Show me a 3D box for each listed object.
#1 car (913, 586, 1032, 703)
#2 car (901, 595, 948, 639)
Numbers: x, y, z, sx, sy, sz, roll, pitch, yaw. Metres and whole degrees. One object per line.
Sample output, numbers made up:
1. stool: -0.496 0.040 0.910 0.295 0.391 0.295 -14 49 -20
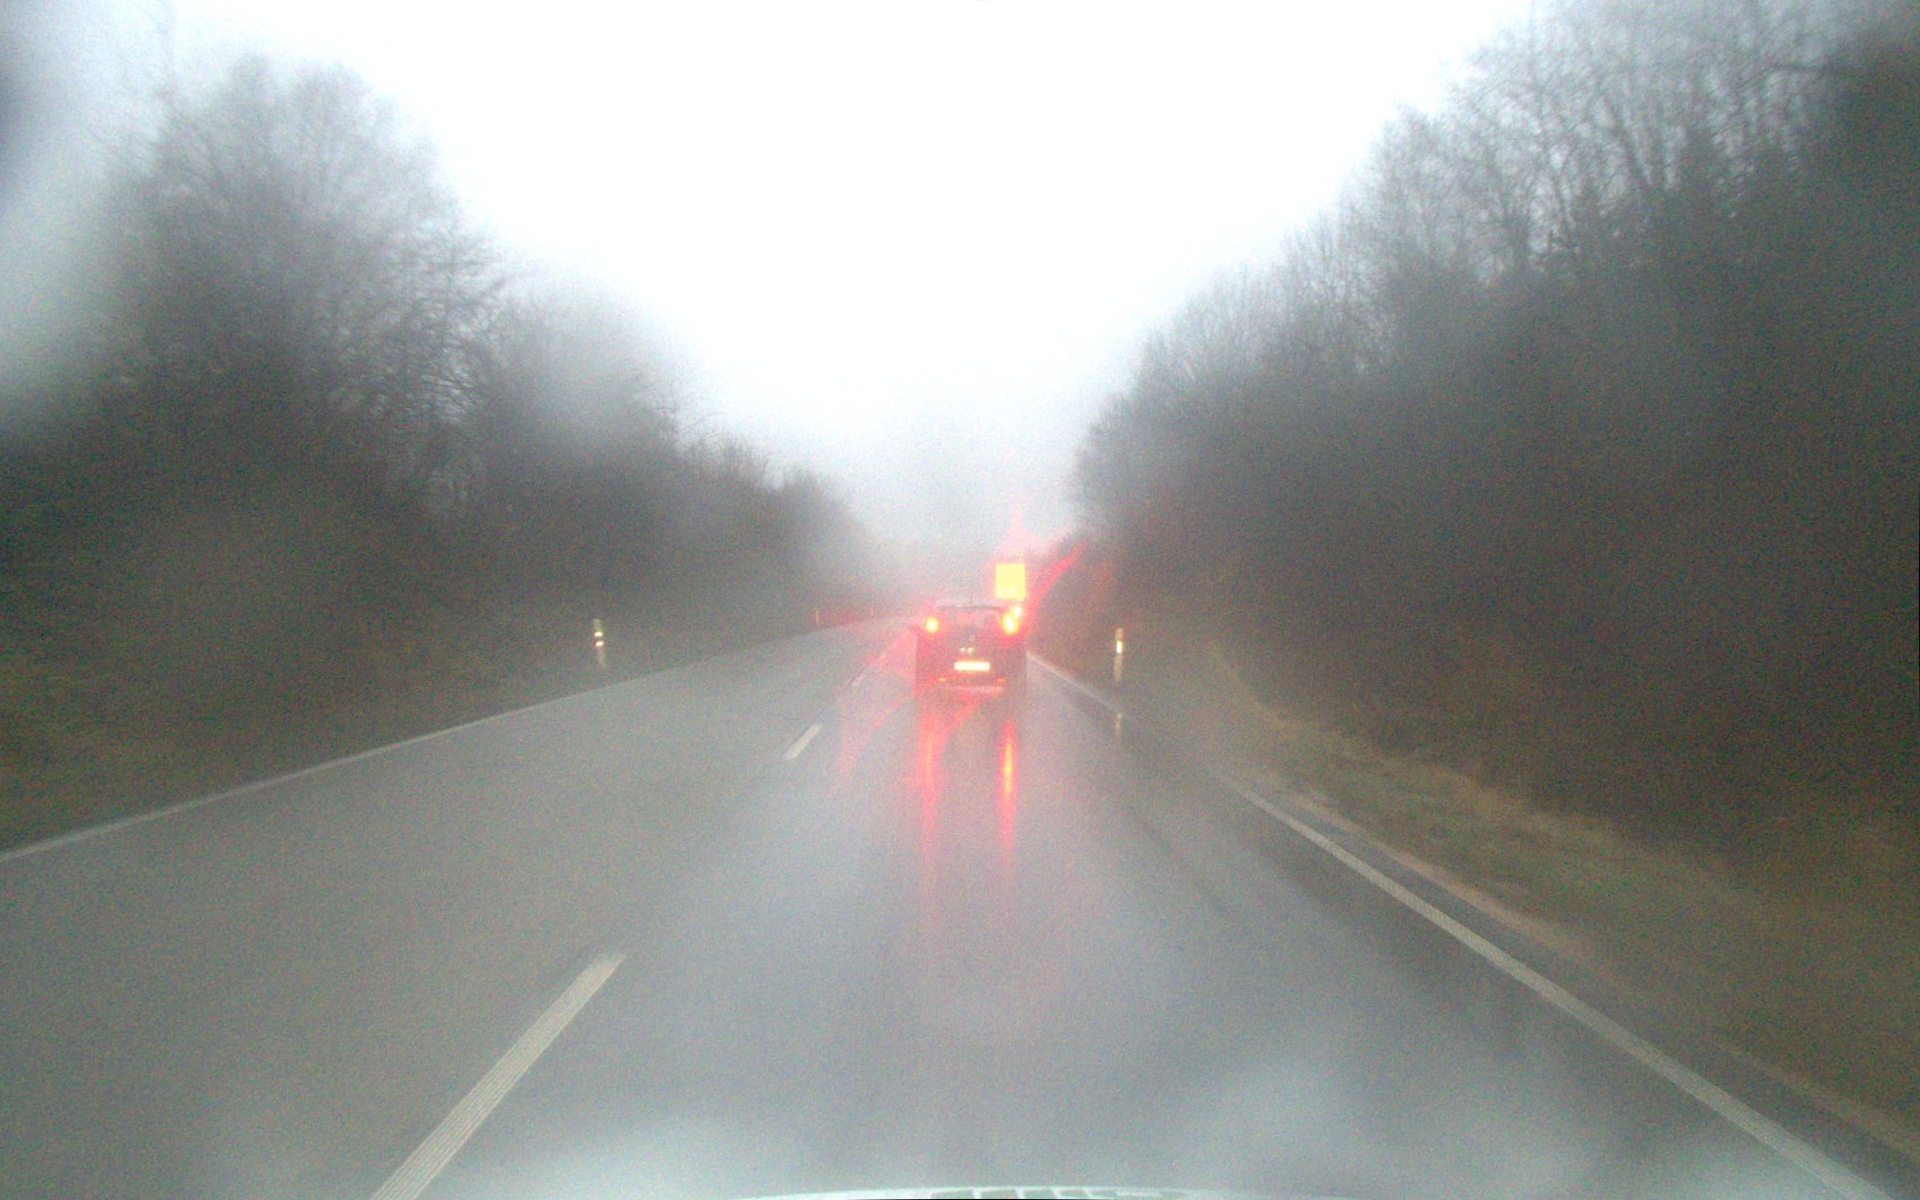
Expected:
1. car: 0.203 0.631 25.609 1.692 1.672 4.000 0 0 0
2. car: -1.373 0.662 65.329 1.692 1.672 4.000 0 0 0
